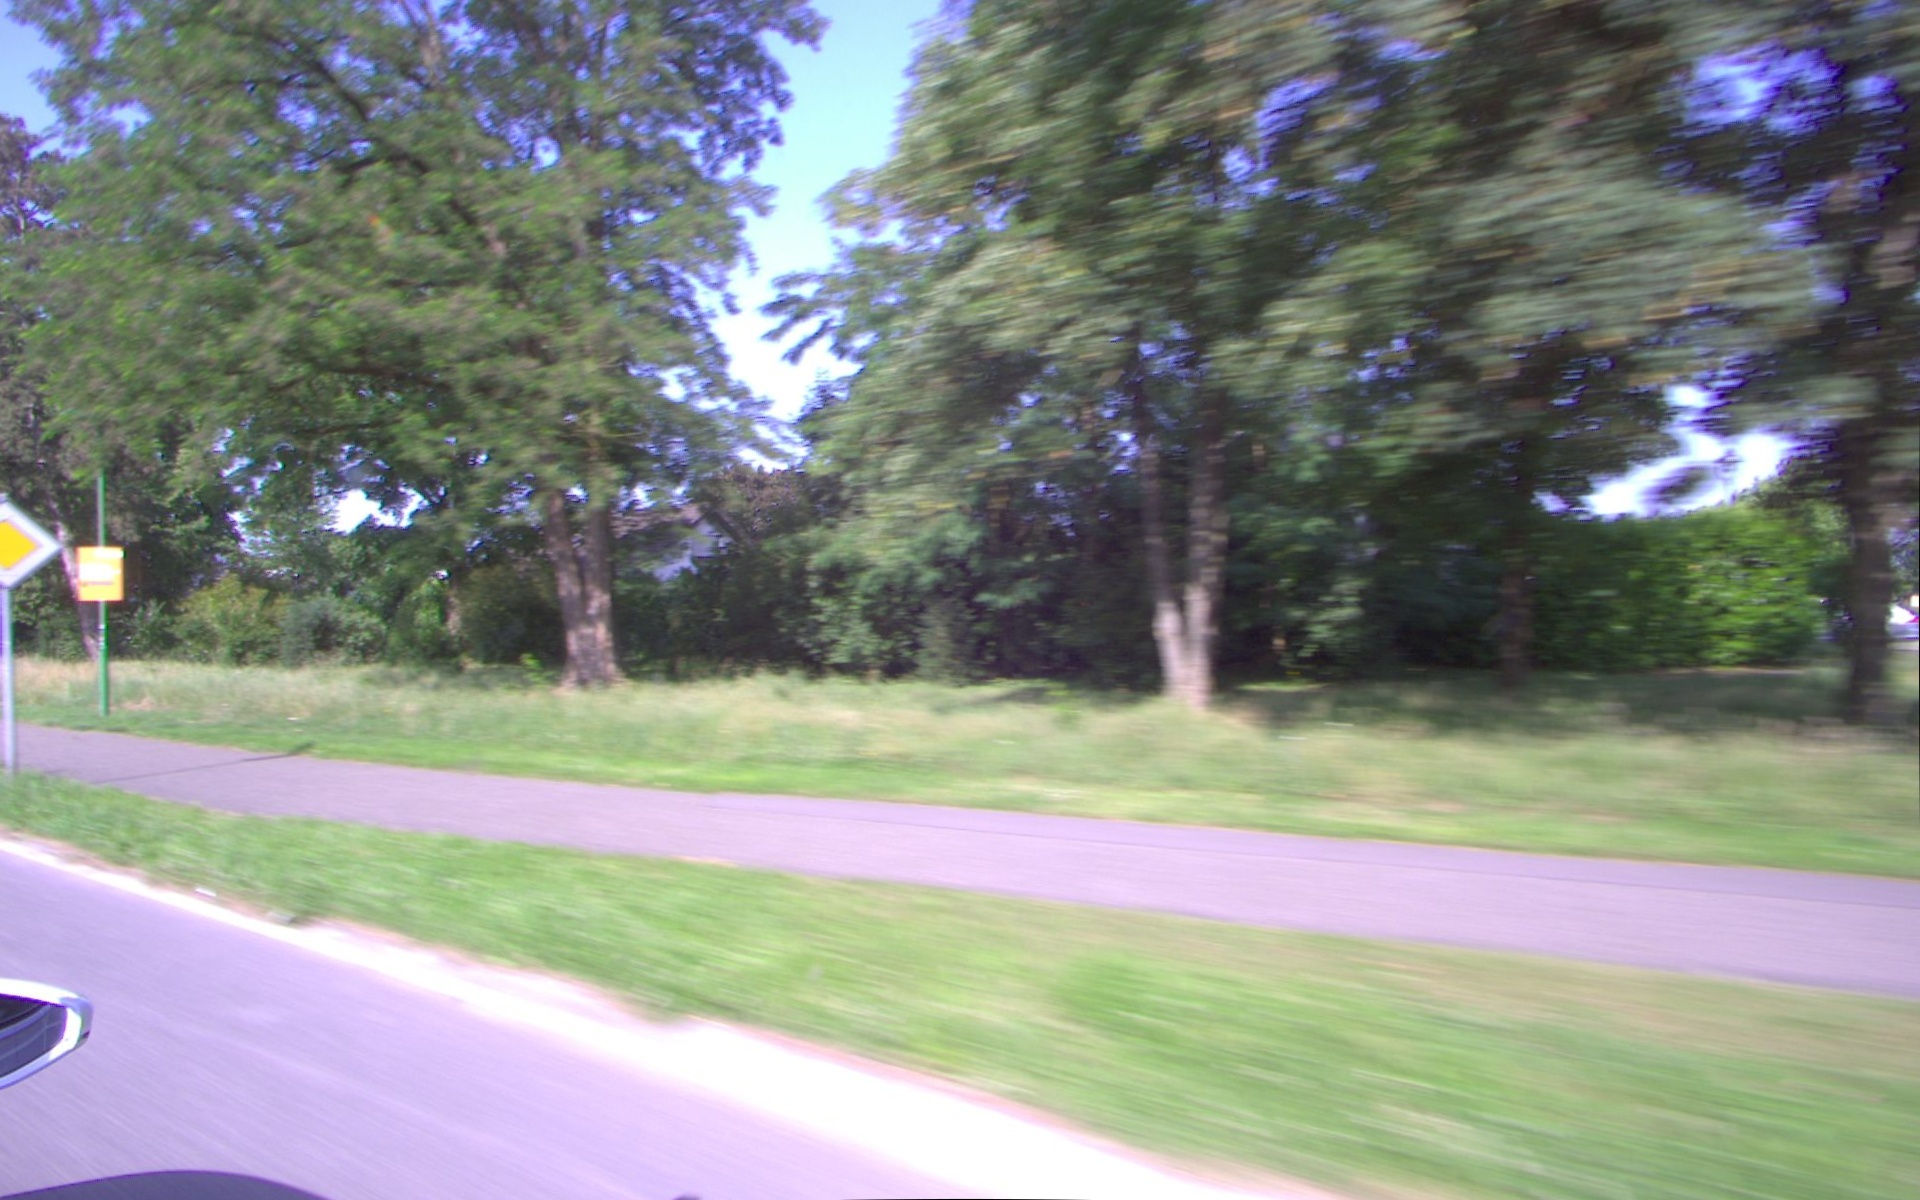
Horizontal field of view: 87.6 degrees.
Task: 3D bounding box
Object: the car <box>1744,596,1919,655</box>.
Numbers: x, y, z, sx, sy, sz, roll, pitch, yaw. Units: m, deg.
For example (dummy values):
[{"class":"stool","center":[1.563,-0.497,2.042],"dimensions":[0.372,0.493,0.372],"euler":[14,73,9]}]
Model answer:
[{"class":"car","center":[25.991,0.752,29.773],"dimensions":[1.858,1.644,4.032],"euler":[0,-1,-44]}]
